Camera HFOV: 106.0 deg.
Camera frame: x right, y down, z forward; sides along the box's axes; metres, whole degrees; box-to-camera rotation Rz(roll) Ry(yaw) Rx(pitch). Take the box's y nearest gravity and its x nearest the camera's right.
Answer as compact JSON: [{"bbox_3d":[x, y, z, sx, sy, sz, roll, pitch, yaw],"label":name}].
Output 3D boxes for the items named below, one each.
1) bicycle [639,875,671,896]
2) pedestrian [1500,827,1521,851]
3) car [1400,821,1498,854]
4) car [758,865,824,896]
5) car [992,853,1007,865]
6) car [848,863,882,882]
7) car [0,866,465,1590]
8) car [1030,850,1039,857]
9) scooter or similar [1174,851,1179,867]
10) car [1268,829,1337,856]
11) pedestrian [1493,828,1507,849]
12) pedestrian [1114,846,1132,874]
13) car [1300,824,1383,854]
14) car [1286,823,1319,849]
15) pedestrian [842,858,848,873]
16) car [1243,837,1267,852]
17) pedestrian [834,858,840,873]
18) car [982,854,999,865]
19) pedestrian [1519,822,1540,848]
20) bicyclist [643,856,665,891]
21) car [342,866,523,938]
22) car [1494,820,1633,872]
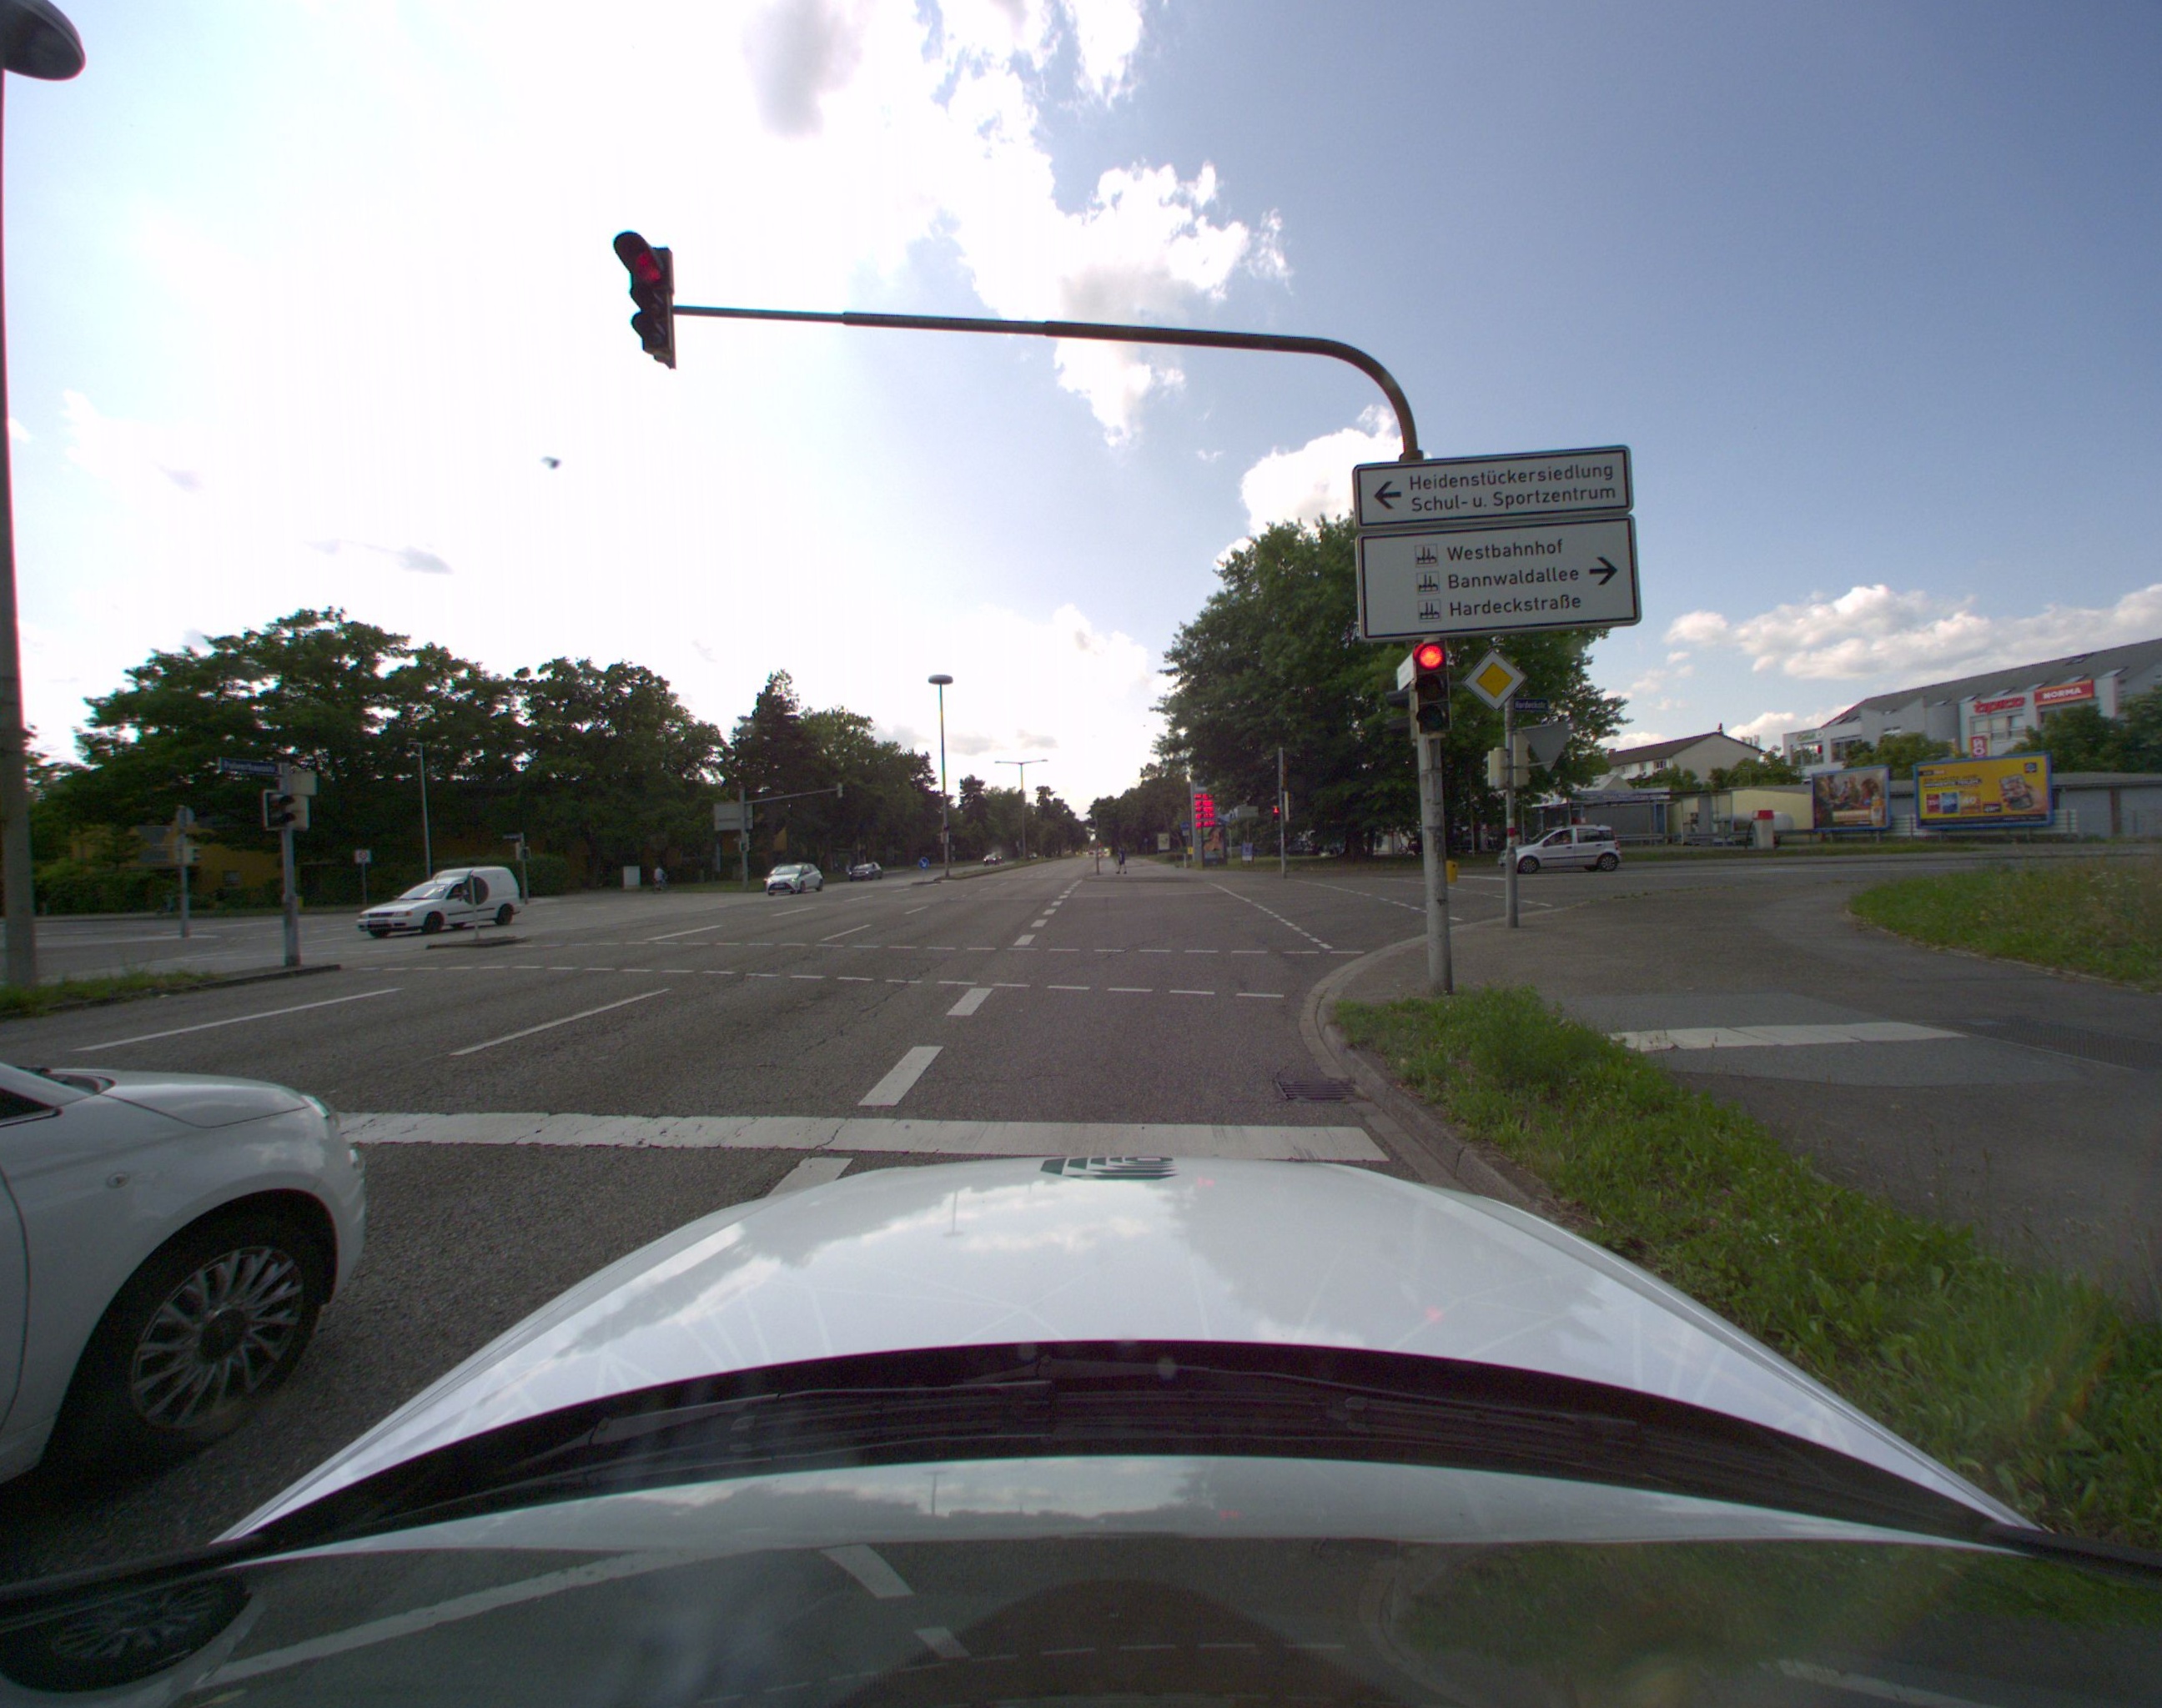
[{"bbox_3d":[-25.197,1.833,48.217,0.752,1.119,2.114,-3,0,0],"label":"bicycle"},{"bbox_3d":[21.840,-0.746,41.428,0.649,1.190,0.757,0,-1,-42],"label":"pedestrian"},{"bbox_3d":[20.590,-0.914,45.655,4.548,1.596,2.147,-3,0,-9],"label":"car"},{"bbox_3d":[-14.338,1.274,40.483,1.746,1.308,3.695,-4,-1,2],"label":"car"},{"bbox_3d":[-13.845,0.817,138.441,1.759,1.857,4.819,-3,1,2],"label":"car"},{"bbox_3d":[-17.080,1.452,64.552,1.589,1.372,4.081,-3,0,0],"label":"car"},{"bbox_3d":[-3.050,0.783,1.160,1.564,1.497,3.541,0,-1,2],"label":"car"},{"bbox_3d":[-12.305,-0.044,214.657,1.854,1.705,4.456,-3,0,1],"label":"car"},{"bbox_3d":[6.086,0.333,51.959,0.220,0.979,1.273,-3,0,2],"label":"scooter or similar"},{"bbox_3d":[18.728,-0.972,68.898,5.167,2.004,2.152,-3,0,-2],"label":"car"},{"bbox_3d":[30.886,-1.149,60.033,0.650,1.544,0.625,-3,0,8],"label":"pedestrian"},{"bbox_3d":[2.394,0.328,46.529,0.726,1.531,0.756,-3,0,-15],"label":"pedestrian"},{"bbox_3d":[18.543,-1.065,57.962,5.179,1.826,2.147,-3,0,-9],"label":"car"},{"bbox_3d":[22.920,-1.829,84.574,1.744,2.453,5.750,-3,0,0],"label":"car"},{"bbox_3d":[-24.740,1.204,85.443,0.570,1.496,0.419,0,-1,-14],"label":"pedestrian"},{"bbox_3d":[18.723,-1.031,87.615,1.744,1.454,3.741,-3,0,0],"label":"car"},{"bbox_3d":[-25.614,1.210,85.416,0.570,1.496,0.419,0,-1,-14],"label":"pedestrian"},{"bbox_3d":[-12.519,0.755,112.936,1.766,1.465,4.454,-3,0,-1],"label":"car"},{"bbox_3d":[22.518,-0.948,40.916,0.649,1.255,0.757,0,-1,-42],"label":"pedestrian"},{"bbox_3d":[-25.228,1.173,48.148,0.749,2.013,0.831,-3,0,-1],"label":"bicyclist"},{"bbox_3d":[-18.395,1.281,23.388,1.664,1.794,4.256,-2,-1,2],"label":"car"},{"bbox_3d":[15.589,-0.246,26.474,3.571,1.517,1.565,-2,0,14],"label":"car"}]
